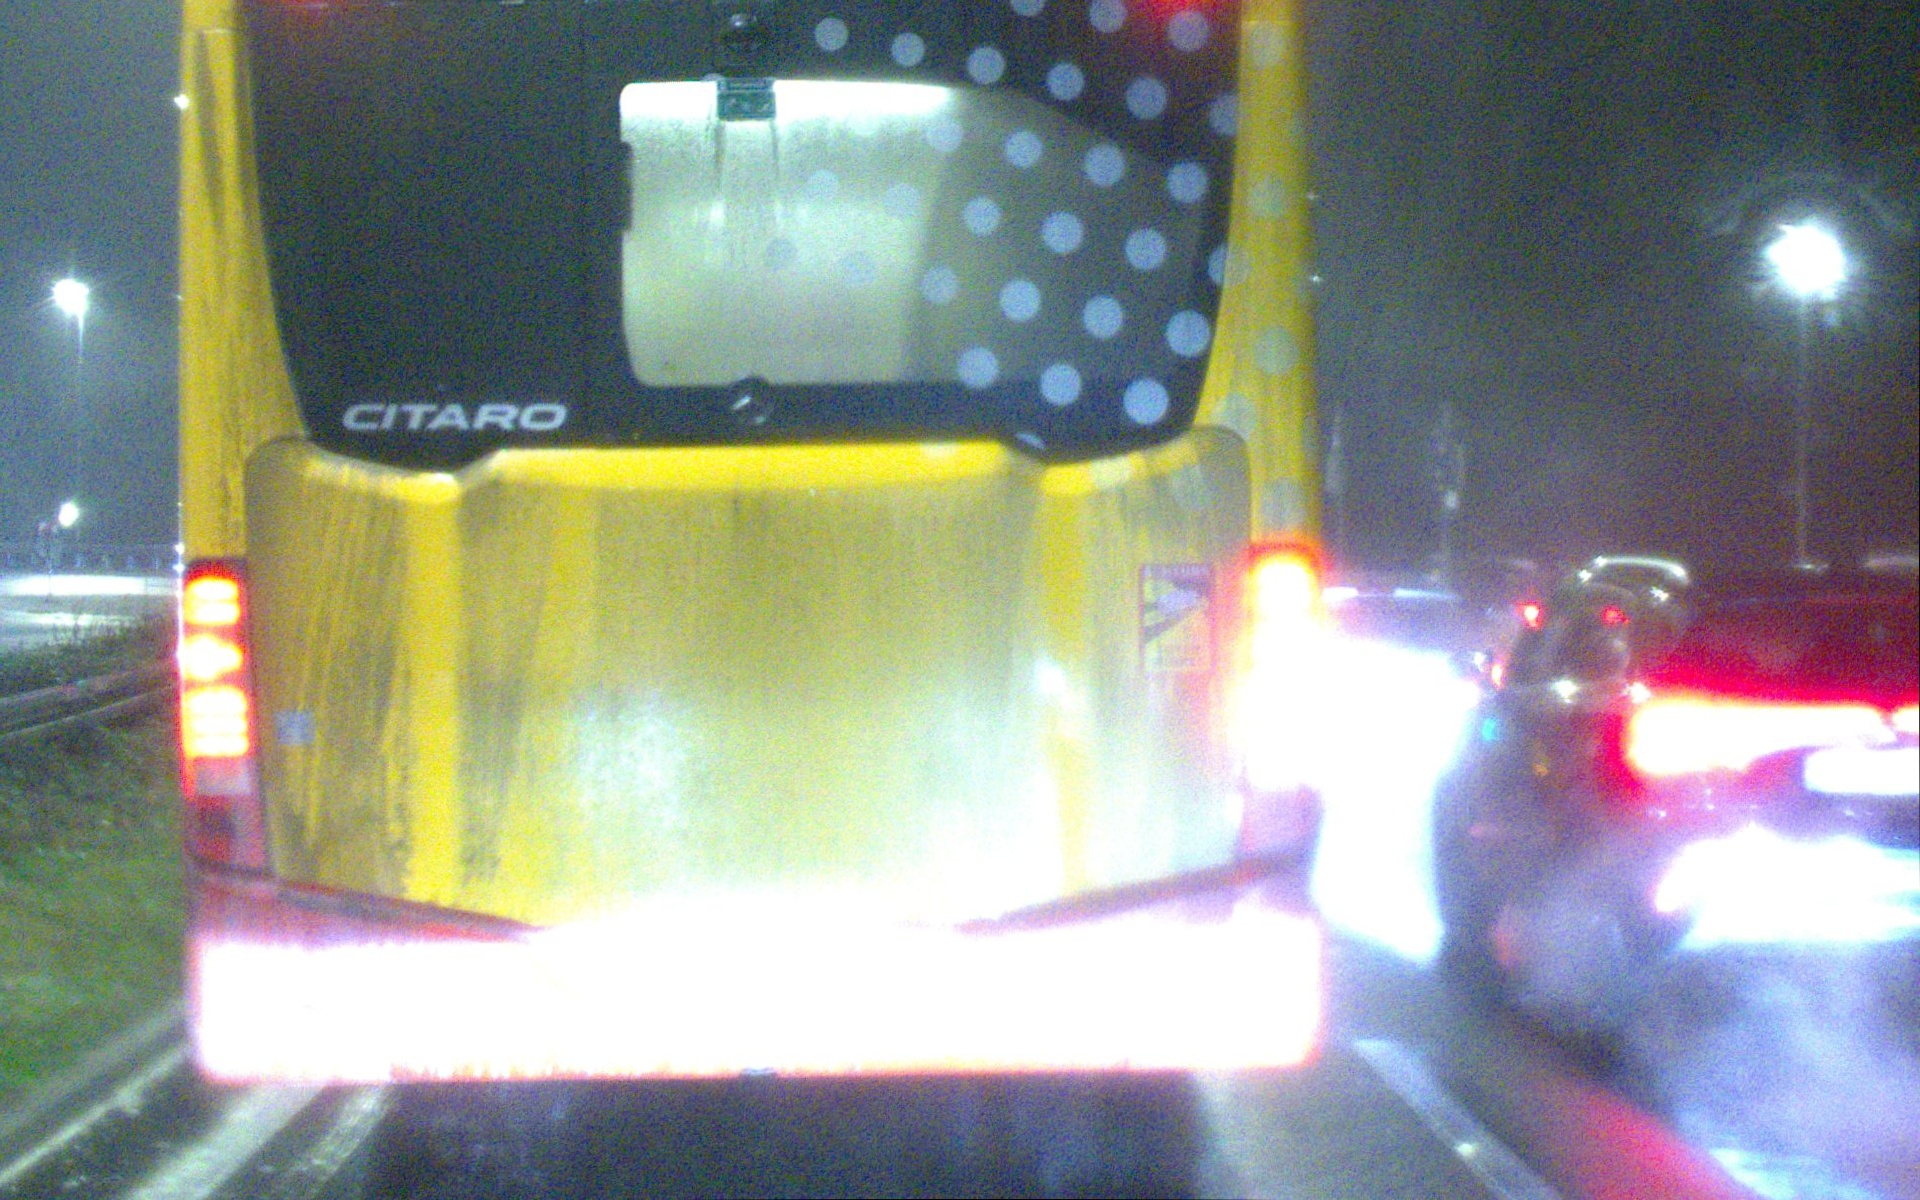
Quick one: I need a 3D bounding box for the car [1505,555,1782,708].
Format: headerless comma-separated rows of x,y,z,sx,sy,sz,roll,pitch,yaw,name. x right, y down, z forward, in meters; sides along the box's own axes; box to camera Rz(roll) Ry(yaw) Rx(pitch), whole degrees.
7.342,0.318,37.374,1.993,1.475,4.338,3,0,-1,car

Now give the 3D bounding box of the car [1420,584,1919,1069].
2.924,0.721,12.812,1.677,1.516,3.961,1,0,-3,car

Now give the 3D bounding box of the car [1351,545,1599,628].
10.191,-0.270,68.208,4.482,1.514,1.857,1,2,-8,car

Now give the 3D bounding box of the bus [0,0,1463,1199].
-0.899,-0.286,11.819,3.284,3.040,9.546,0,2,-4,bus

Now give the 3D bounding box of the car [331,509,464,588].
-12.776,-1.144,77.938,1.993,1.715,4.001,1,0,-24,car

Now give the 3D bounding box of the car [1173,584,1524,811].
2.471,0.600,22.754,1.686,1.326,3.960,-1,0,-2,car
